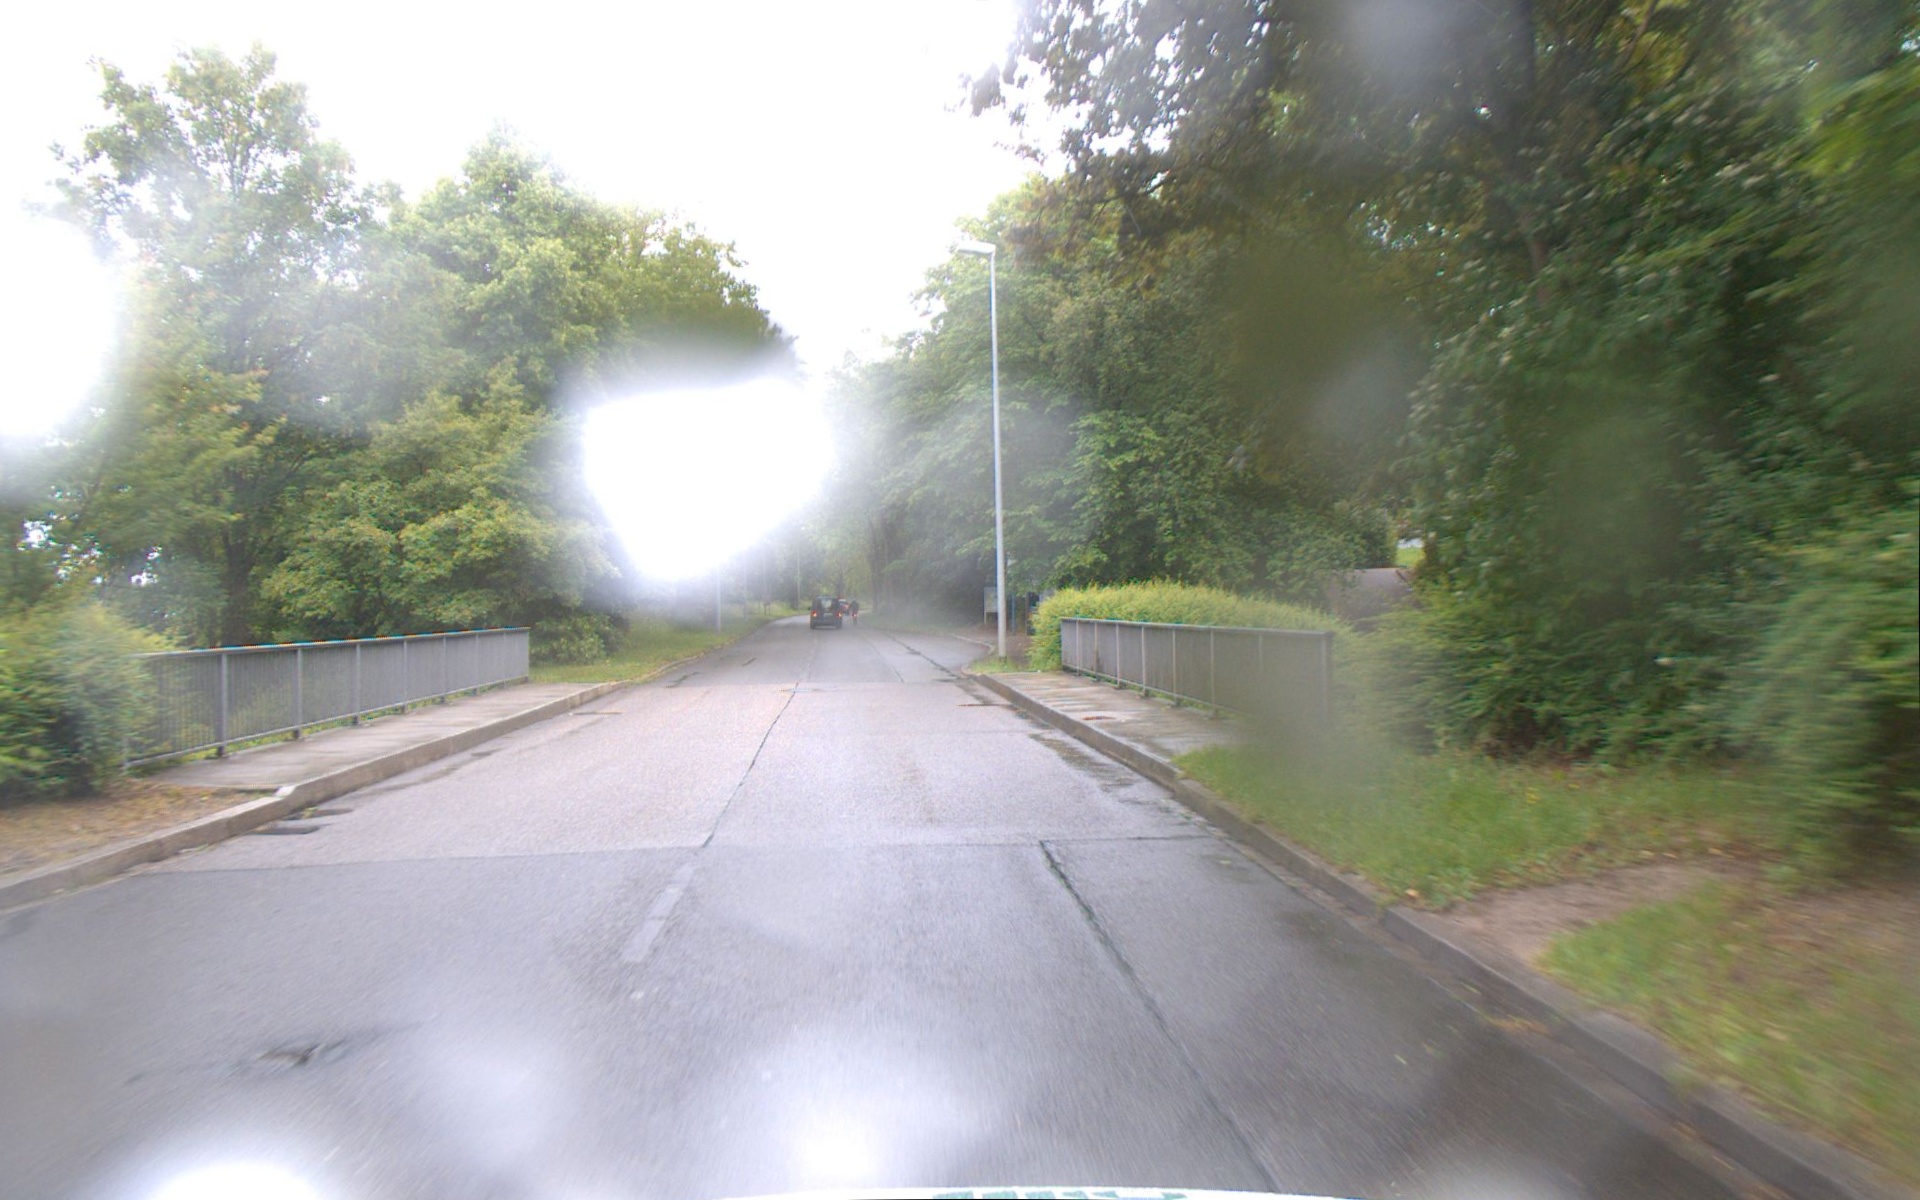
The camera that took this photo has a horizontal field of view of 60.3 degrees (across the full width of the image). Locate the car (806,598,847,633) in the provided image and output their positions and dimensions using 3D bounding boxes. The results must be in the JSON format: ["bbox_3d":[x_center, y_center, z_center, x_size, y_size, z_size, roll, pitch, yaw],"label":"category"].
[{"bbox_3d":[-7.733,0.865,95.801,1.950,1.959,3.990,-1,0,-11],"label":"car"}]

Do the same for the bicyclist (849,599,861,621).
[{"bbox_3d":[-6.693,0.628,105.152,0.715,1.435,0.973,0,0,-2],"label":"bicyclist"}]

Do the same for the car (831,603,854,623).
[{"bbox_3d":[-11.210,1.236,157.769,1.956,1.848,3.993,0,-1,-8],"label":"car"}]

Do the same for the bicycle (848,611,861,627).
[{"bbox_3d":[-6.700,1.197,105.184,0.715,0.991,2.172,0,0,-2],"label":"bicycle"}]
